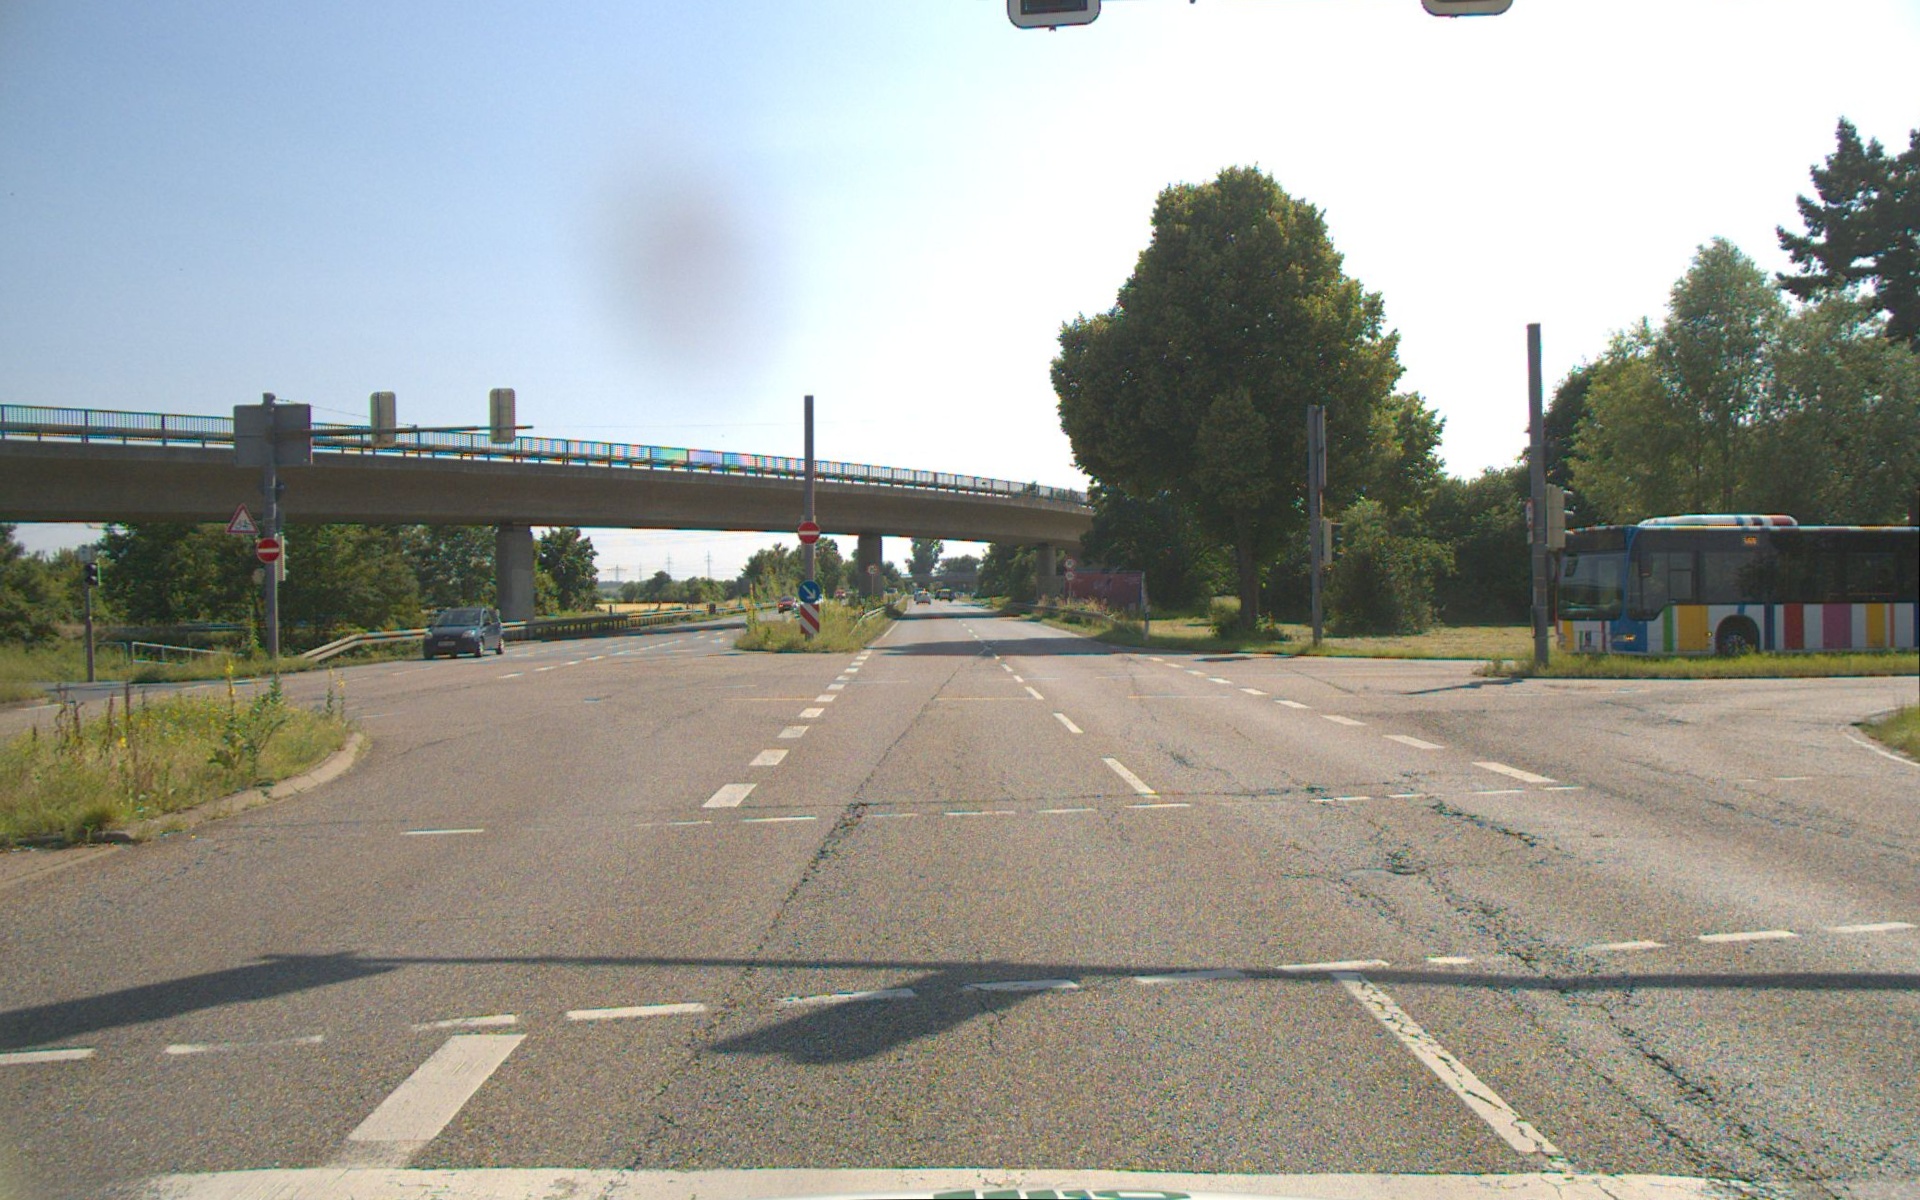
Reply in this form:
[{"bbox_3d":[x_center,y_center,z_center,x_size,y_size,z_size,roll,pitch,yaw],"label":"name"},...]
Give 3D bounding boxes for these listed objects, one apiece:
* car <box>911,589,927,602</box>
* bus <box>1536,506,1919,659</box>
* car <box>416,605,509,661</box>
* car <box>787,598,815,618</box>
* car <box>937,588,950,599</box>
[{"bbox_3d":[-4.824,-0.523,195.907,1.813,1.486,4.000,-1,0,0],"label":"car"},{"bbox_3d":[18.468,-0.458,35.859,11.745,2.927,2.929,-2,0,-16],"label":"bus"},{"bbox_3d":[-14.658,0.941,48.867,1.582,1.467,3.775,-3,0,-1],"label":"car"},{"bbox_3d":[-12.754,0.611,132.768,1.819,1.473,4.239,-3,0,-2],"label":"car"},{"bbox_3d":[-2.412,-0.981,243.860,1.835,1.668,4.000,0,0,0],"label":"car"}]
